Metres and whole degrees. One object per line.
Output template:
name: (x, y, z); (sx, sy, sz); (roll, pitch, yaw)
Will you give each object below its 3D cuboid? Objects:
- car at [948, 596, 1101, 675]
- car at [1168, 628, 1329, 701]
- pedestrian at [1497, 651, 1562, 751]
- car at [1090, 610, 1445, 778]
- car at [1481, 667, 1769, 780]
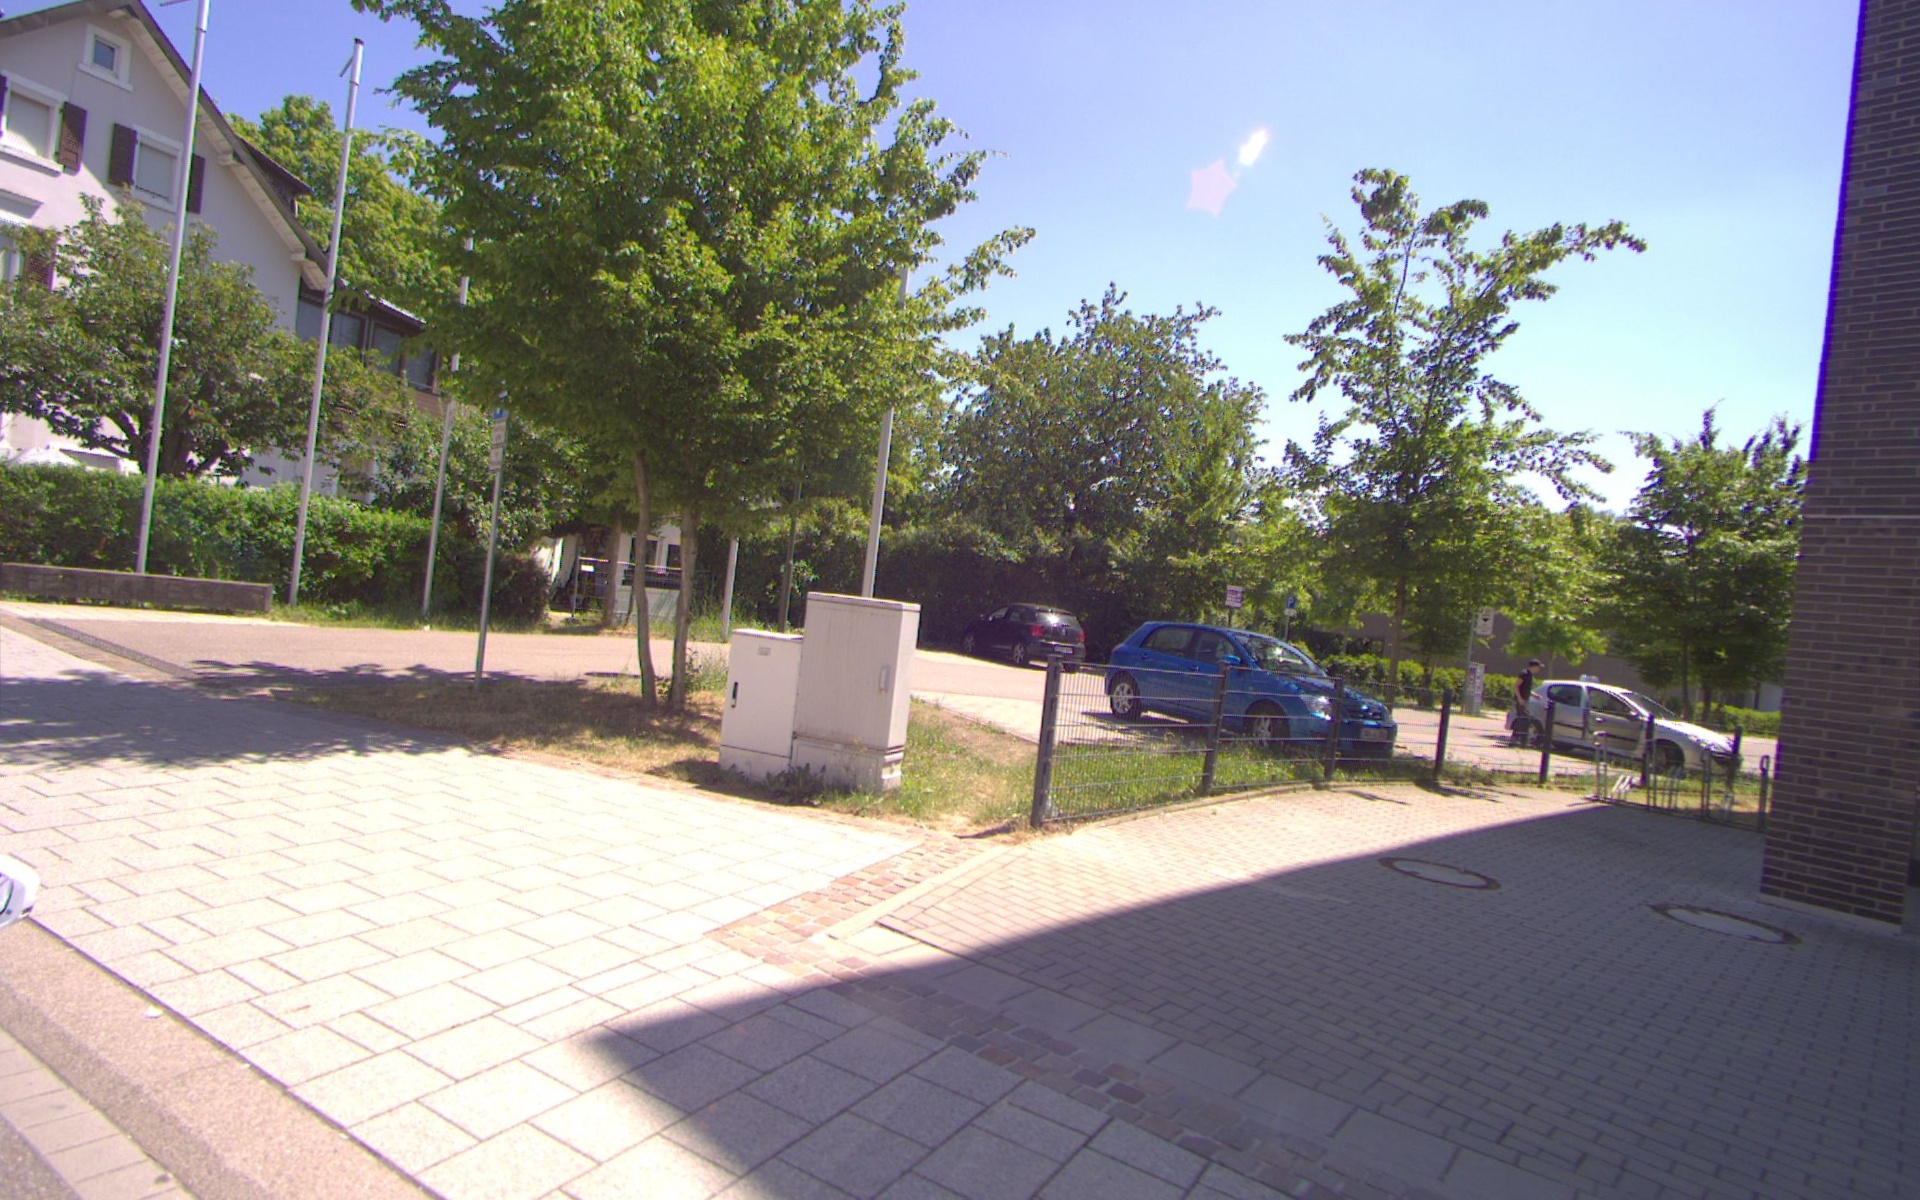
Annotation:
car: (1.478, 0.823, 24.675); (1.854, 1.459, 3.973); (7, 0, -27)
car: (7.816, 1.715, 27.602); (1.855, 1.459, 3.970); (7, 0, -29)
pedestrian: (10.929, 1.933, 19.311); (0.630, 1.813, 0.692); (5, 1, -35)
car: (3.777, 1.120, 13.108); (1.799, 1.459, 4.137); (8, 0, -32)
car: (12.584, 2.304, 19.318); (1.798, 1.459, 4.138); (6, 0, -32)
